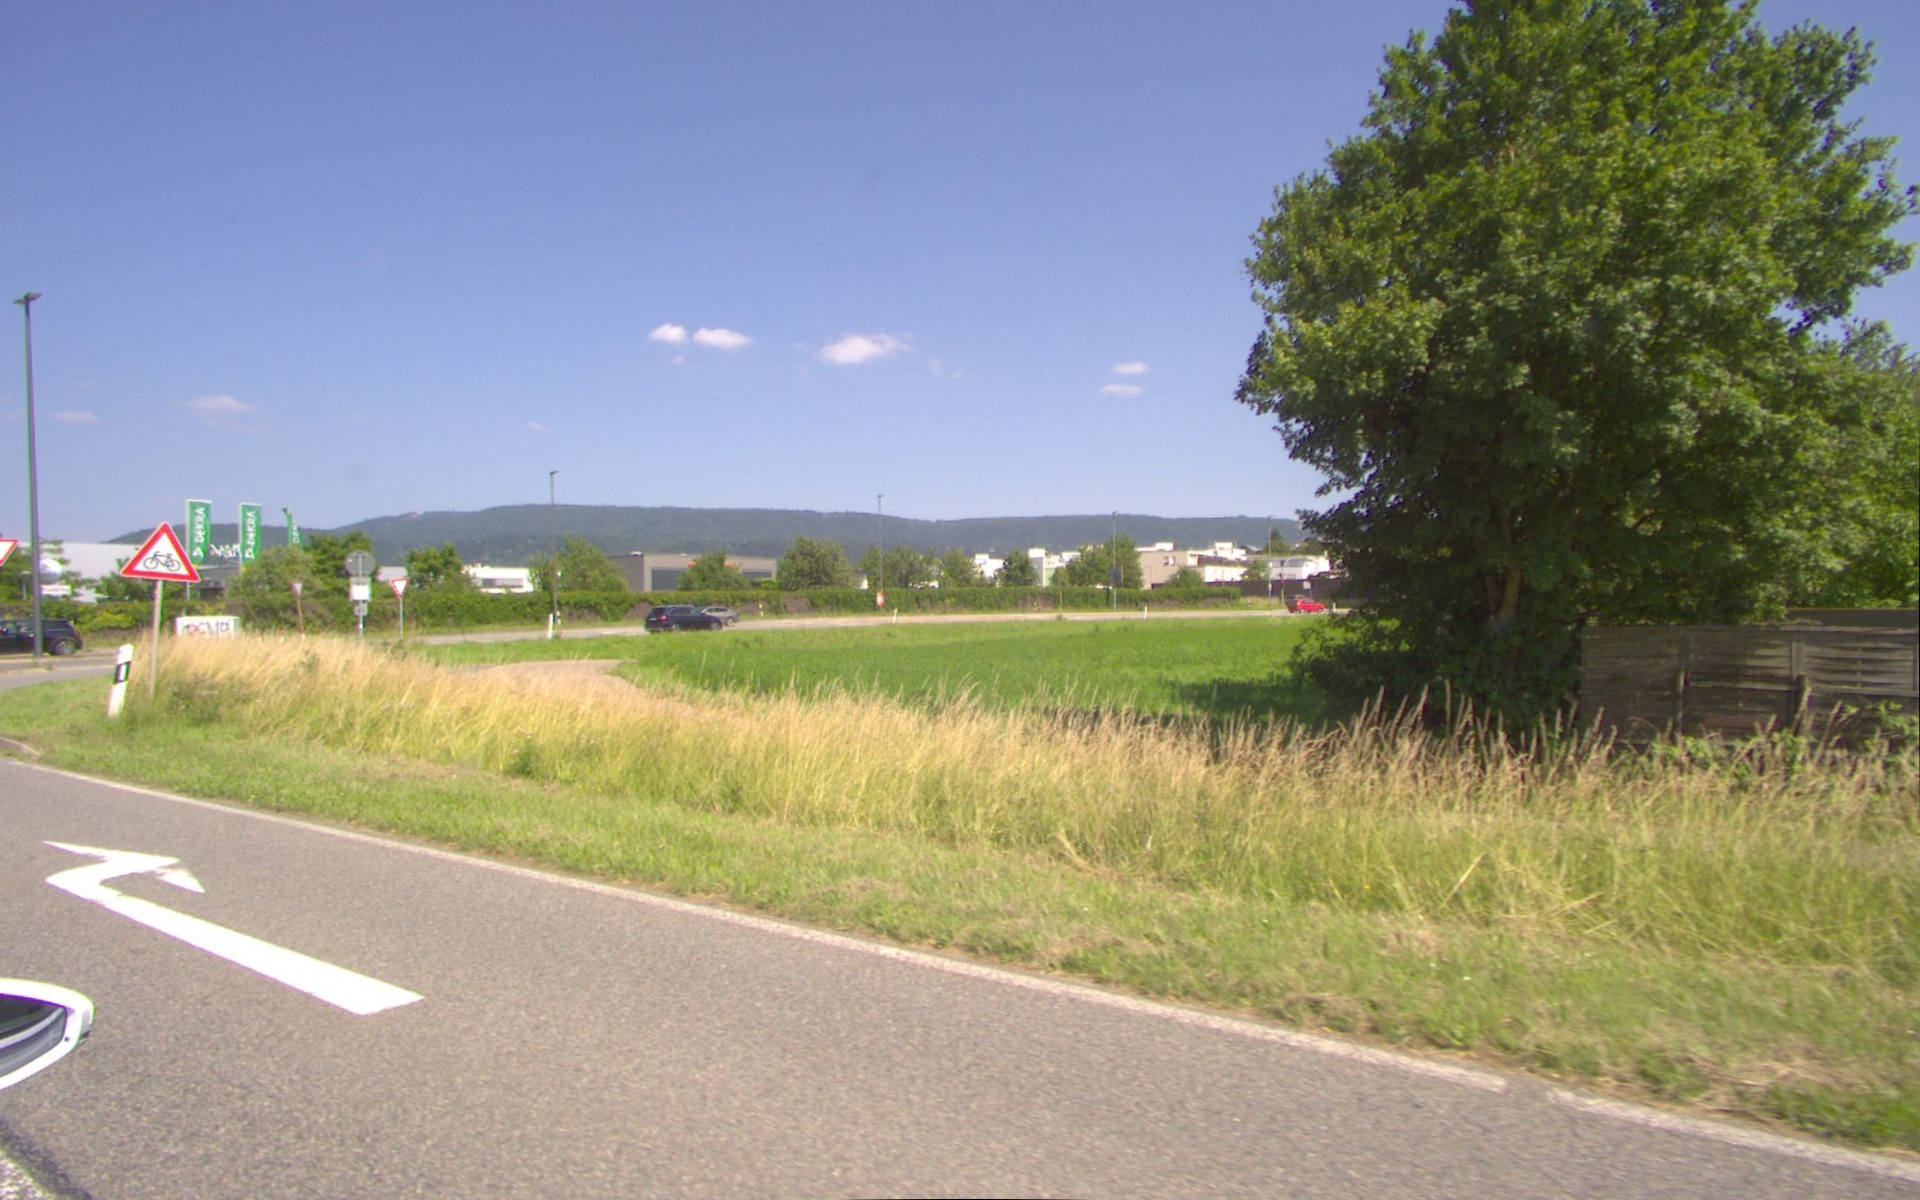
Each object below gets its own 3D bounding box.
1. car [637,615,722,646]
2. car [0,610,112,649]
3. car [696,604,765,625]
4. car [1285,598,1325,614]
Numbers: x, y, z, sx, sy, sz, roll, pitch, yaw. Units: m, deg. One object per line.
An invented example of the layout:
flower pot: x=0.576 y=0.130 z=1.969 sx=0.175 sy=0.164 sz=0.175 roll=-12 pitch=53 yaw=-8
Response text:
car: x=-15.488 y=1.668 z=55.546 sx=1.973 sy=1.637 sz=4.314 roll=-1 pitch=-1 yaw=35
car: x=-34.029 y=1.054 z=36.934 sx=1.785 sy=1.344 sz=3.967 roll=0 pitch=0 yaw=41
car: x=-15.711 y=1.000 z=68.674 sx=1.787 sy=1.345 sz=4.337 roll=0 pitch=0 yaw=44
car: x=35.812 y=0.634 z=103.919 sx=3.938 sy=1.567 sz=1.767 roll=-1 pitch=1 yaw=-27
